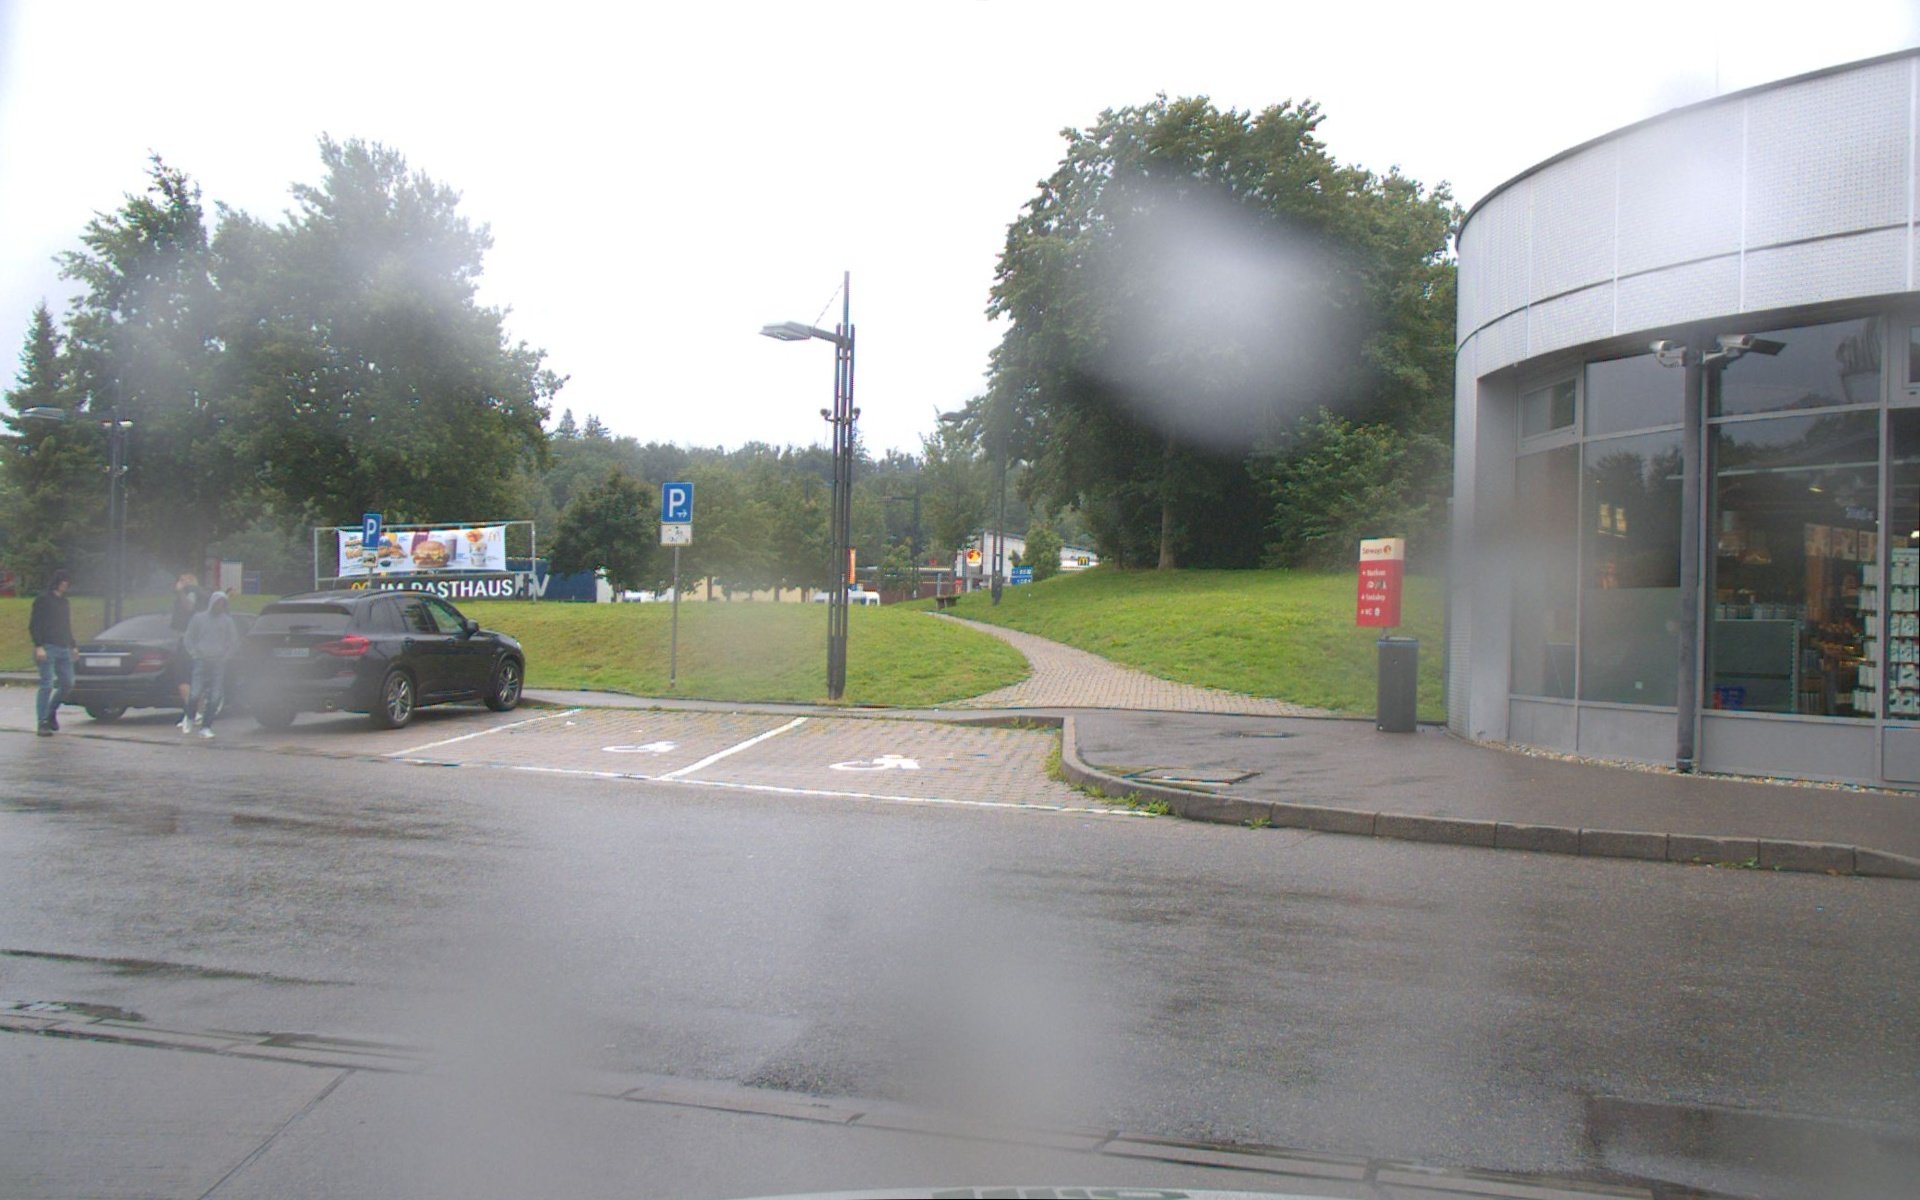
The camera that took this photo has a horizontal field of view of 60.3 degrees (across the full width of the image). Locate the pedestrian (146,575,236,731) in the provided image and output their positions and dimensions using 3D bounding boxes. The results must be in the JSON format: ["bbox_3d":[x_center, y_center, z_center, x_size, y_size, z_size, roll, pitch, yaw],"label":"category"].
[{"bbox_3d":[-9.676,0.656,20.809,0.941,1.920,0.697,1,-1,-31],"label":"pedestrian"}]

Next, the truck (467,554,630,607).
[{"bbox_3d":[-24.916,-1.088,101.288,2.142,2.971,13.092,1,0,23],"label":"truck"}]

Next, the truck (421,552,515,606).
[{"bbox_3d":[-27.967,-1.170,94.273,2.142,2.971,5.384,1,0,24],"label":"truck"}]

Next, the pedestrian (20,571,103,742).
[{"bbox_3d":[-10.394,0.636,19.133,0.696,1.920,0.882,1,-1,-37],"label":"pedestrian"}]

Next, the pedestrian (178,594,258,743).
[{"bbox_3d":[-8.566,0.769,19.091,0.695,1.660,0.943,1,-1,-32],"label":"pedestrian"}]

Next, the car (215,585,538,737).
[{"bbox_3d":[-7.362,0.695,21.388,1.973,1.741,4.347,-1,1,11],"label":"car"}]

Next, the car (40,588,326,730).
[{"bbox_3d":[-10.569,0.721,22.906,1.976,1.741,4.342,-1,1,-2],"label":"car"}]

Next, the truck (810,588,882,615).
[{"bbox_3d":[-9.215,0.133,133.684,5.298,2.049,2.366,1,0,24],"label":"truck"}]
